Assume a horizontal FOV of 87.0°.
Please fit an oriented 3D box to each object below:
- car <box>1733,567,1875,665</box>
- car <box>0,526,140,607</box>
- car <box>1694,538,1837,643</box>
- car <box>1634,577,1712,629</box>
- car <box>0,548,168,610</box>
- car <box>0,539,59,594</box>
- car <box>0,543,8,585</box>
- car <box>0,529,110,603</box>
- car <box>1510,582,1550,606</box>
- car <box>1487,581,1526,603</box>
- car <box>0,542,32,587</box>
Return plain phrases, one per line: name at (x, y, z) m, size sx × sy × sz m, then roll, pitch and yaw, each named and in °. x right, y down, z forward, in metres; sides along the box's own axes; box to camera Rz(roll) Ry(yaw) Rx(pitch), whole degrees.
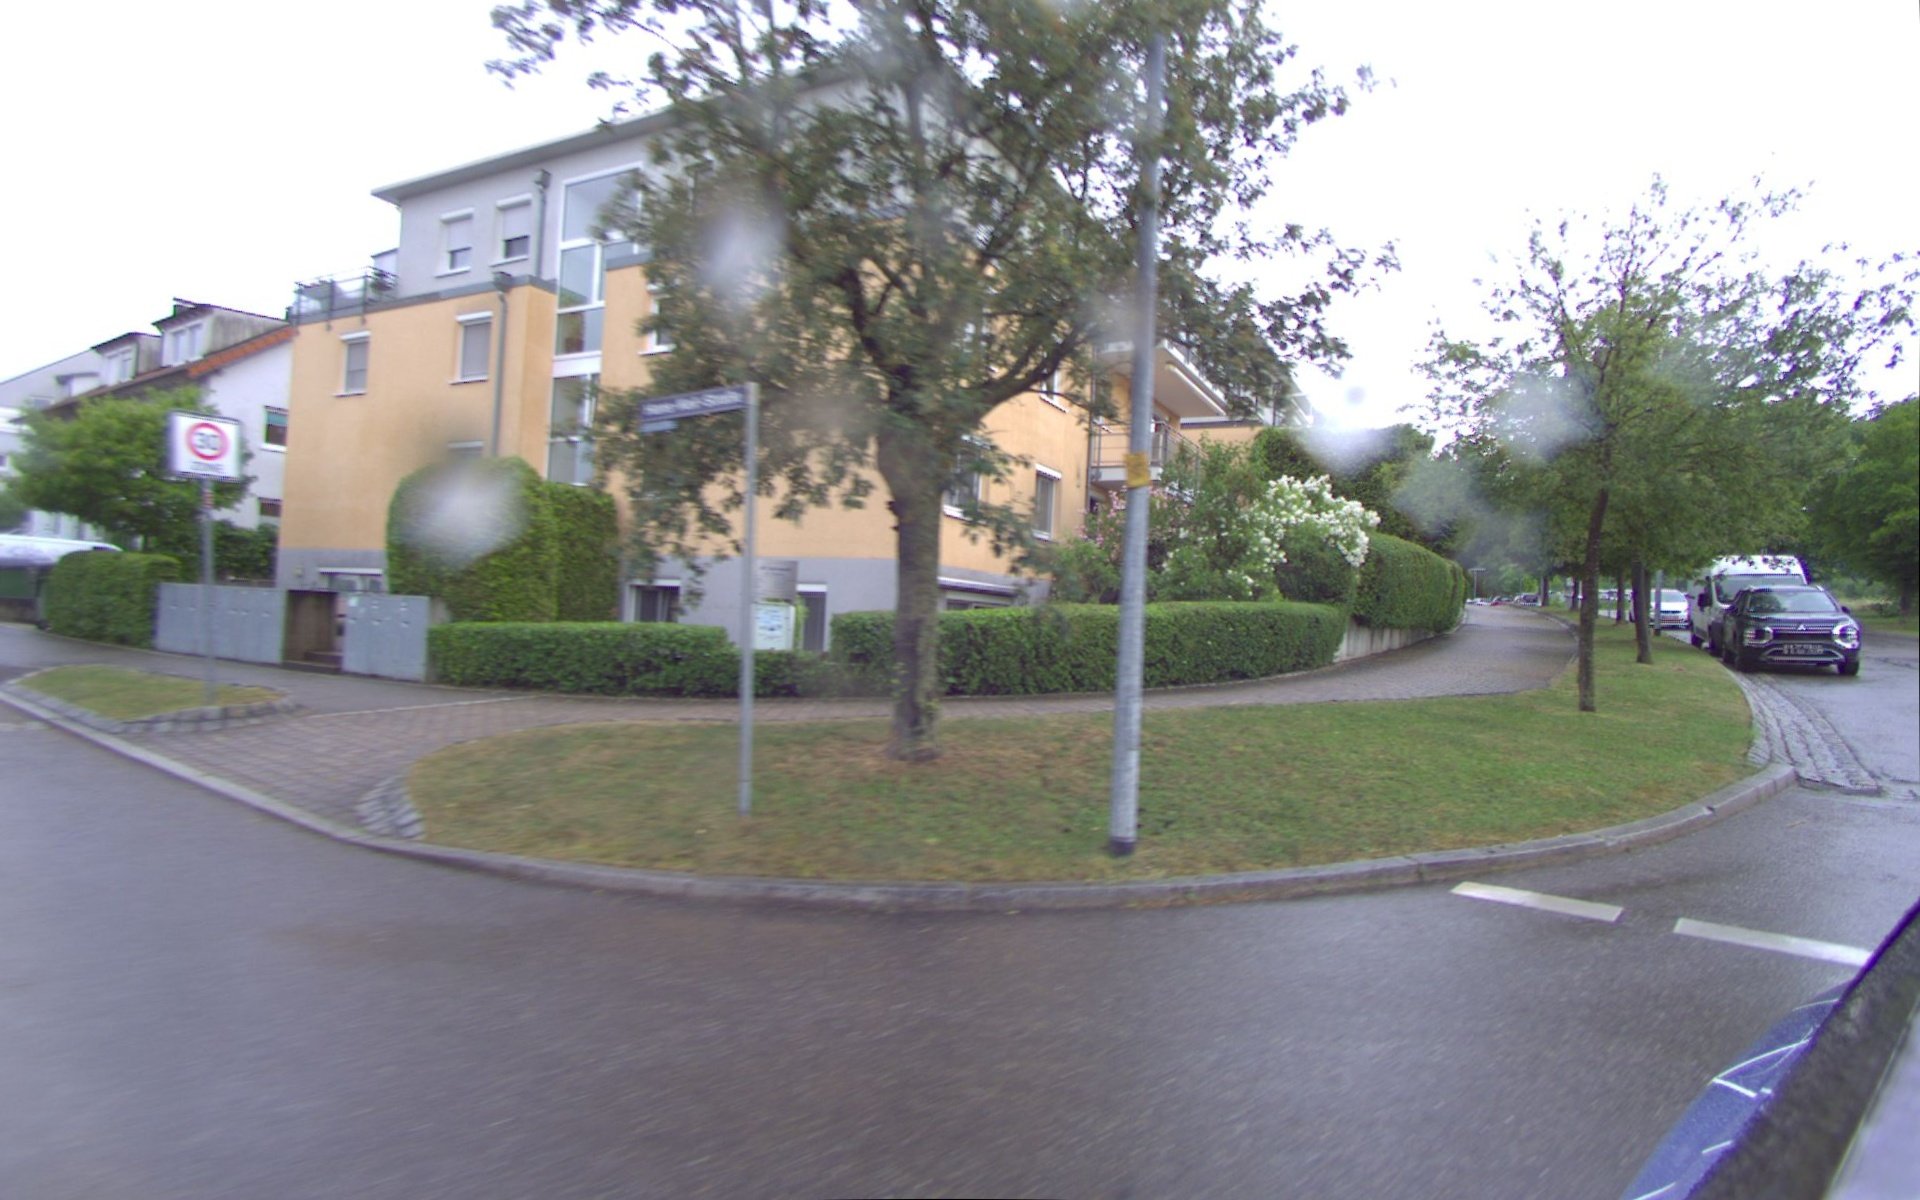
car at (17.003, 0.214, 20.589) m, size 1.805 × 1.748 × 4.594 m, roll 1°, pitch 2°, yaw 35°
car at (-24.340, -0.897, 26.623) m, size 1.987 × 2.038 × 3.951 m, roll 3°, pitch 2°, yaw 34°
car at (20.191, -0.267, 25.617) m, size 2.037 × 2.360 × 5.350 m, roll 1°, pitch 1°, yaw 30°
car at (27.316, 0.050, 38.883) m, size 1.807 × 1.807 × 3.786 m, roll 1°, pitch 3°, yaw 26°
car at (-22.185, -0.549, 25.129) m, size 1.710 × 1.433 × 3.641 m, roll 3°, pitch 2°, yaw 33°
car at (-30.281, -1.053, 30.971) m, size 1.769 × 1.670 × 3.735 m, roll 2°, pitch 2°, yaw 30°
car at (-35.259, -1.267, 34.674) m, size 1.705 × 1.490 × 3.615 m, roll 3°, pitch 2°, yaw 34°
car at (-26.208, -0.943, 27.993) m, size 1.722 × 1.987 × 3.844 m, roll 2°, pitch 2°, yaw 33°
car at (48.026, -0.540, 85.368) m, size 1.948 × 1.871 × 3.983 m, roll 0°, pitch 2°, yaw 15°
car at (49.299, -0.739, 91.392) m, size 1.944 × 1.871 × 3.990 m, roll 0°, pitch 2°, yaw 10°
car at (-32.697, -1.170, 32.706) m, size 1.735 × 1.477 × 3.752 m, roll 3°, pitch 2°, yaw 37°
